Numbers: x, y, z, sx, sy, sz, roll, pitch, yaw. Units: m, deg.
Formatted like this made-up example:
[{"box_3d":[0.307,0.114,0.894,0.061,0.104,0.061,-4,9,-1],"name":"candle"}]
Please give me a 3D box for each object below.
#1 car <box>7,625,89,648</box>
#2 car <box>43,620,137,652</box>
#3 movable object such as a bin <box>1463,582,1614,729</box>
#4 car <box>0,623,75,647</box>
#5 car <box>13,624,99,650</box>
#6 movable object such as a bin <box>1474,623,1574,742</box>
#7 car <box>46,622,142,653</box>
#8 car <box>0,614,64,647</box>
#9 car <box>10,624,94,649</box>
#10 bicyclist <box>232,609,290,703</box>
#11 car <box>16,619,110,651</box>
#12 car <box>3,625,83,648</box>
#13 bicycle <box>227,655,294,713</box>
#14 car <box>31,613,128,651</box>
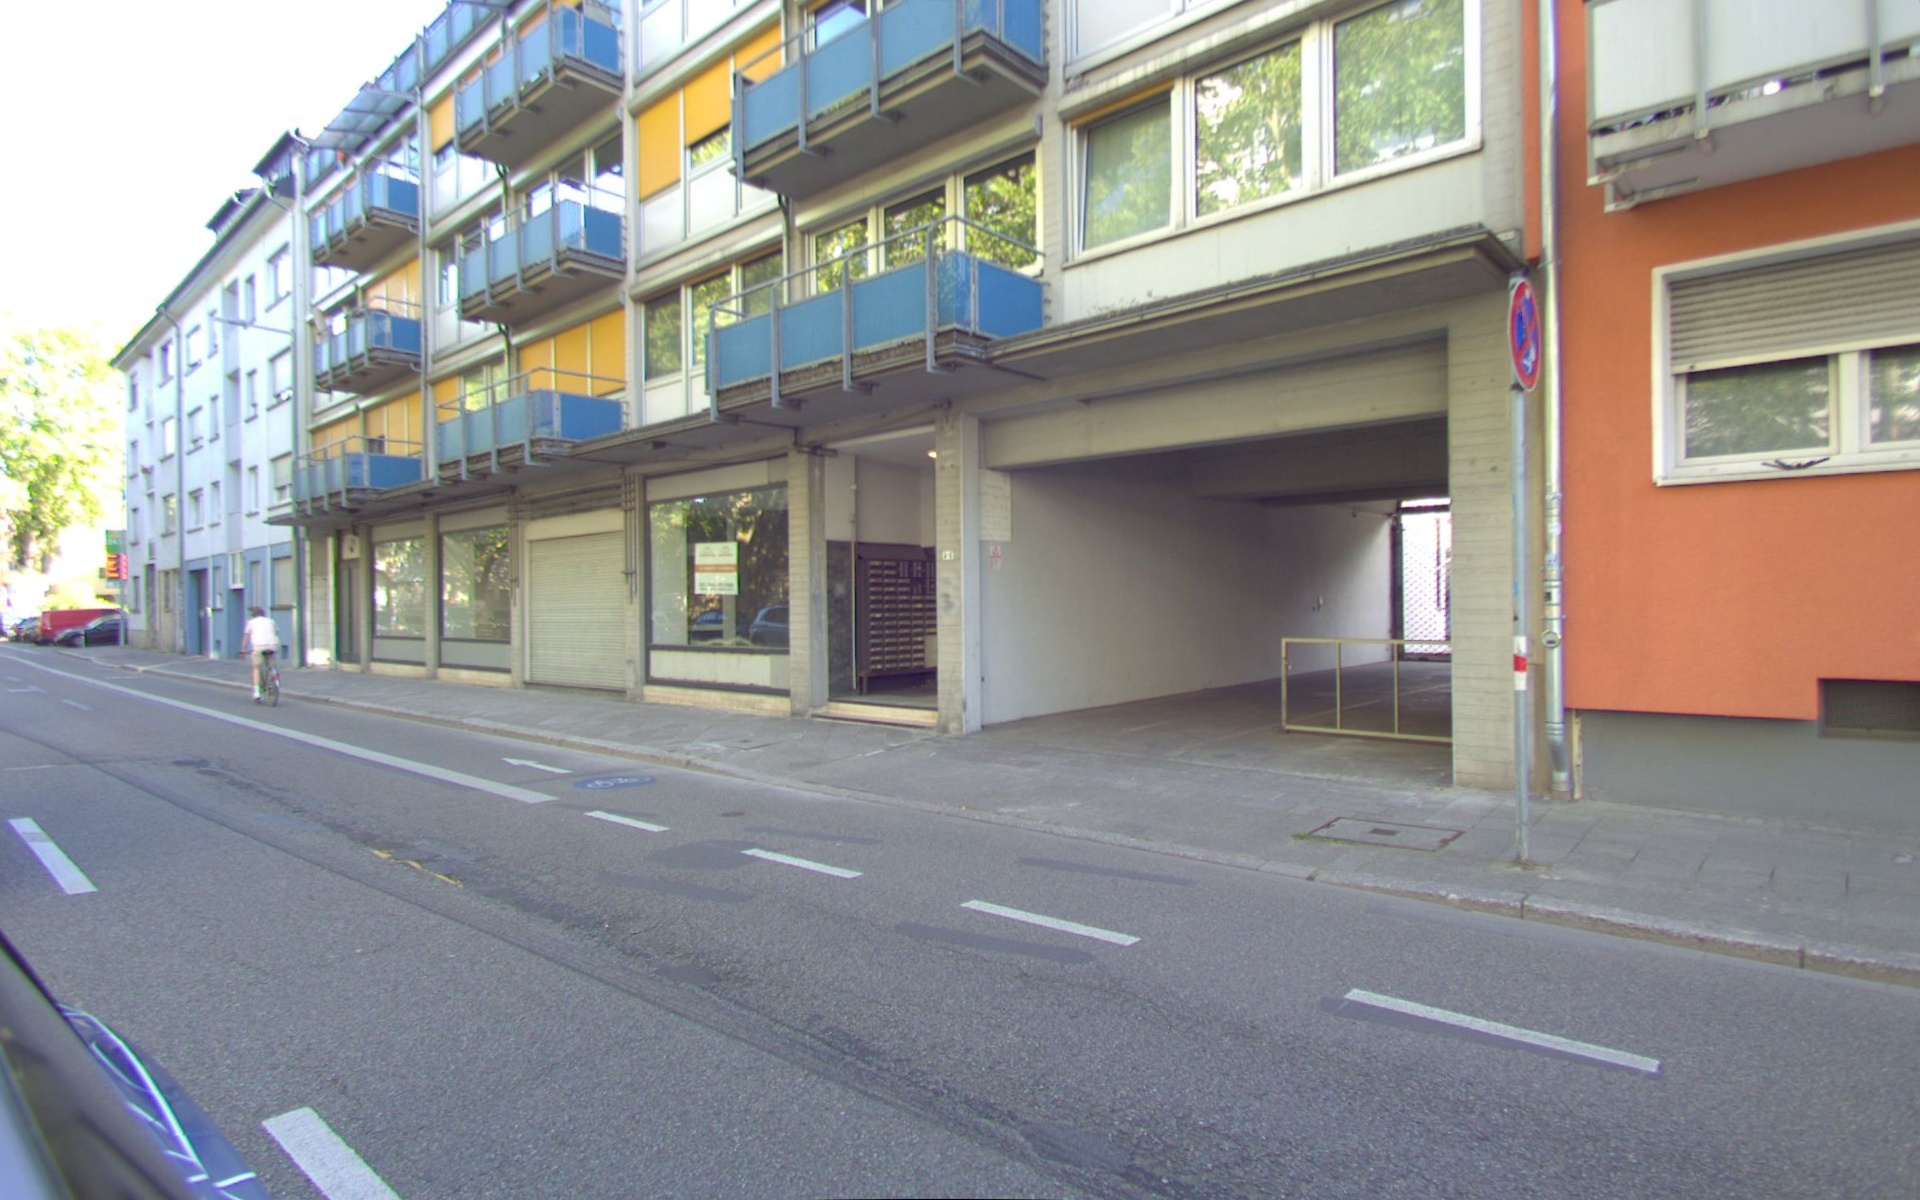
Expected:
[{"box_3d":[-59.596,2.368,66.149,1.526,1.343,3.854,-1,0,43],"name":"car"},{"box_3d":[-45.956,1.863,53.503,1.602,1.521,3.619,-1,0,43],"name":"car"},{"box_3d":[6.330,0.556,11.070,1.143,1.476,1.246,-1,0,44],"name":"movable object such as a bin"},{"box_3d":[-63.372,2.388,69.538,1.539,1.451,3.732,-1,0,43],"name":"car"},{"box_3d":[-56.124,2.280,62.866,1.595,1.385,3.854,-1,0,43],"name":"car"},{"box_3d":[5.388,0.763,9.678,0.703,1.055,0.563,-1,0,44],"name":"movable object such as a bin"},{"box_3d":[-44.268,1.906,51.775,1.534,1.420,3.550,-2,0,43],"name":"car"},{"box_3d":[-66.821,2.176,72.431,1.725,2.193,3.854,-1,0,43],"name":"car"},{"box_3d":[-57.614,2.303,64.233,1.595,1.385,3.854,-1,0,43],"name":"car"},{"box_3d":[-12.235,0.961,17.710,0.806,1.570,0.641,-1,0,42],"name":"bicyclist"},{"box_3d":[-50.435,1.956,56.942,1.604,1.598,3.854,-1,0,43],"name":"car"},{"box_3d":[-61.374,2.395,67.744,1.526,1.343,3.854,-1,0,43],"name":"car"},{"box_3d":[-12.271,1.450,17.736,1.867,0.898,0.542,-1,0,42],"name":"bicycle"},{"box_3d":[-48.117,1.733,55.359,1.749,1.921,3.853,-2,-1,43],"name":"car"}]
